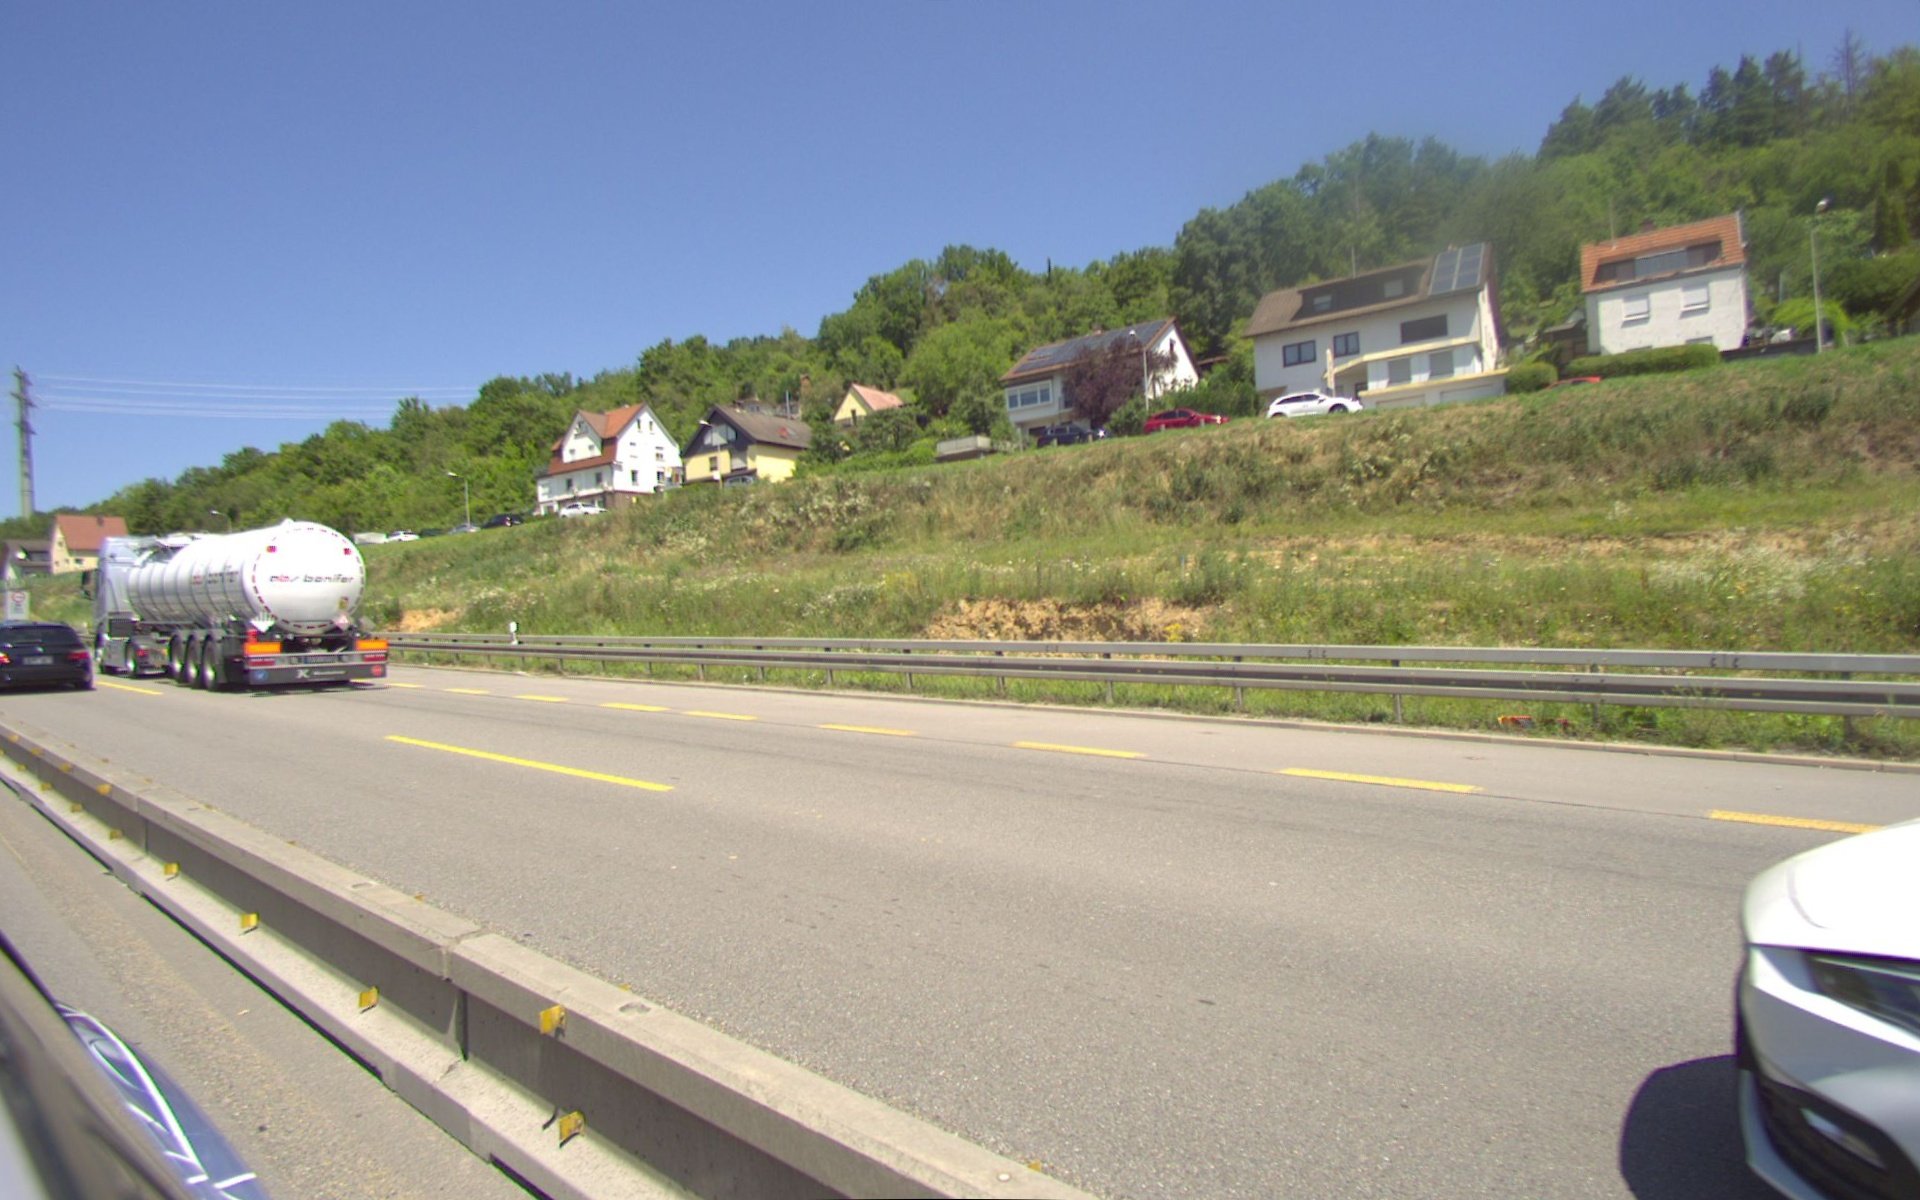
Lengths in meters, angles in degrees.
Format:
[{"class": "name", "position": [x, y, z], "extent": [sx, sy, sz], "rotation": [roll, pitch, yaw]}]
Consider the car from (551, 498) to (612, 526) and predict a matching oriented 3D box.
[{"class": "car", "position": [-29.416, -6.787, 78.624], "extent": [4.999, 1.807, 1.977], "rotation": [0, 0, 34]}]

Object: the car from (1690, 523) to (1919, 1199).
[{"class": "car", "position": [3.683, 0.580, 1.028], "extent": [4.633, 1.491, 1.893], "rotation": [-1, -1, 40]}]

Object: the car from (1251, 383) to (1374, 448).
[{"class": "car", "position": [15.984, -8.308, 45.990], "extent": [4.811, 2.056, 2.326], "rotation": [0, 0, 38]}]

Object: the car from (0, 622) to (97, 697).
[{"class": "car", "position": [-19.926, 1.211, 21.425], "extent": [4.677, 1.425, 1.875], "rotation": [-2, -1, 41]}]

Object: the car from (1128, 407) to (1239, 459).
[{"class": "car", "position": [10.959, -8.151, 49.775], "extent": [4.794, 1.807, 2.326], "rotation": [0, 0, 38]}]

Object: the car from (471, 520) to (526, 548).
[{"class": "car", "position": [-38.989, -5.535, 85.474], "extent": [4.963, 2.023, 2.052], "rotation": [0, 0, 36]}]

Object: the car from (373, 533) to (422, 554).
[{"class": "car", "position": [-52.195, -5.218, 93.902], "extent": [4.537, 1.668, 1.979], "rotation": [0, 0, 31]}]

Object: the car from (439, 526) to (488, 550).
[{"class": "car", "position": [-43.299, -5.405, 88.250], "extent": [4.421, 1.886, 1.976], "rotation": [0, 0, 35]}]

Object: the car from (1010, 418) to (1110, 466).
[{"class": "car", "position": [5.148, -8.148, 52.433], "extent": [4.751, 1.807, 2.160], "rotation": [0, 0, 34]}]

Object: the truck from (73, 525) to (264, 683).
[{"class": "truck", "position": [-21.051, 0.136, 26.792], "extent": [6.272, 3.700, 2.751], "rotation": [-2, -1, 40]}]

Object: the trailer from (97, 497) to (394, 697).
[{"class": "trailer", "position": [-16.752, 0.056, 23.149], "extent": [11.786, 3.621, 2.689], "rotation": [-2, -1, 40]}]
